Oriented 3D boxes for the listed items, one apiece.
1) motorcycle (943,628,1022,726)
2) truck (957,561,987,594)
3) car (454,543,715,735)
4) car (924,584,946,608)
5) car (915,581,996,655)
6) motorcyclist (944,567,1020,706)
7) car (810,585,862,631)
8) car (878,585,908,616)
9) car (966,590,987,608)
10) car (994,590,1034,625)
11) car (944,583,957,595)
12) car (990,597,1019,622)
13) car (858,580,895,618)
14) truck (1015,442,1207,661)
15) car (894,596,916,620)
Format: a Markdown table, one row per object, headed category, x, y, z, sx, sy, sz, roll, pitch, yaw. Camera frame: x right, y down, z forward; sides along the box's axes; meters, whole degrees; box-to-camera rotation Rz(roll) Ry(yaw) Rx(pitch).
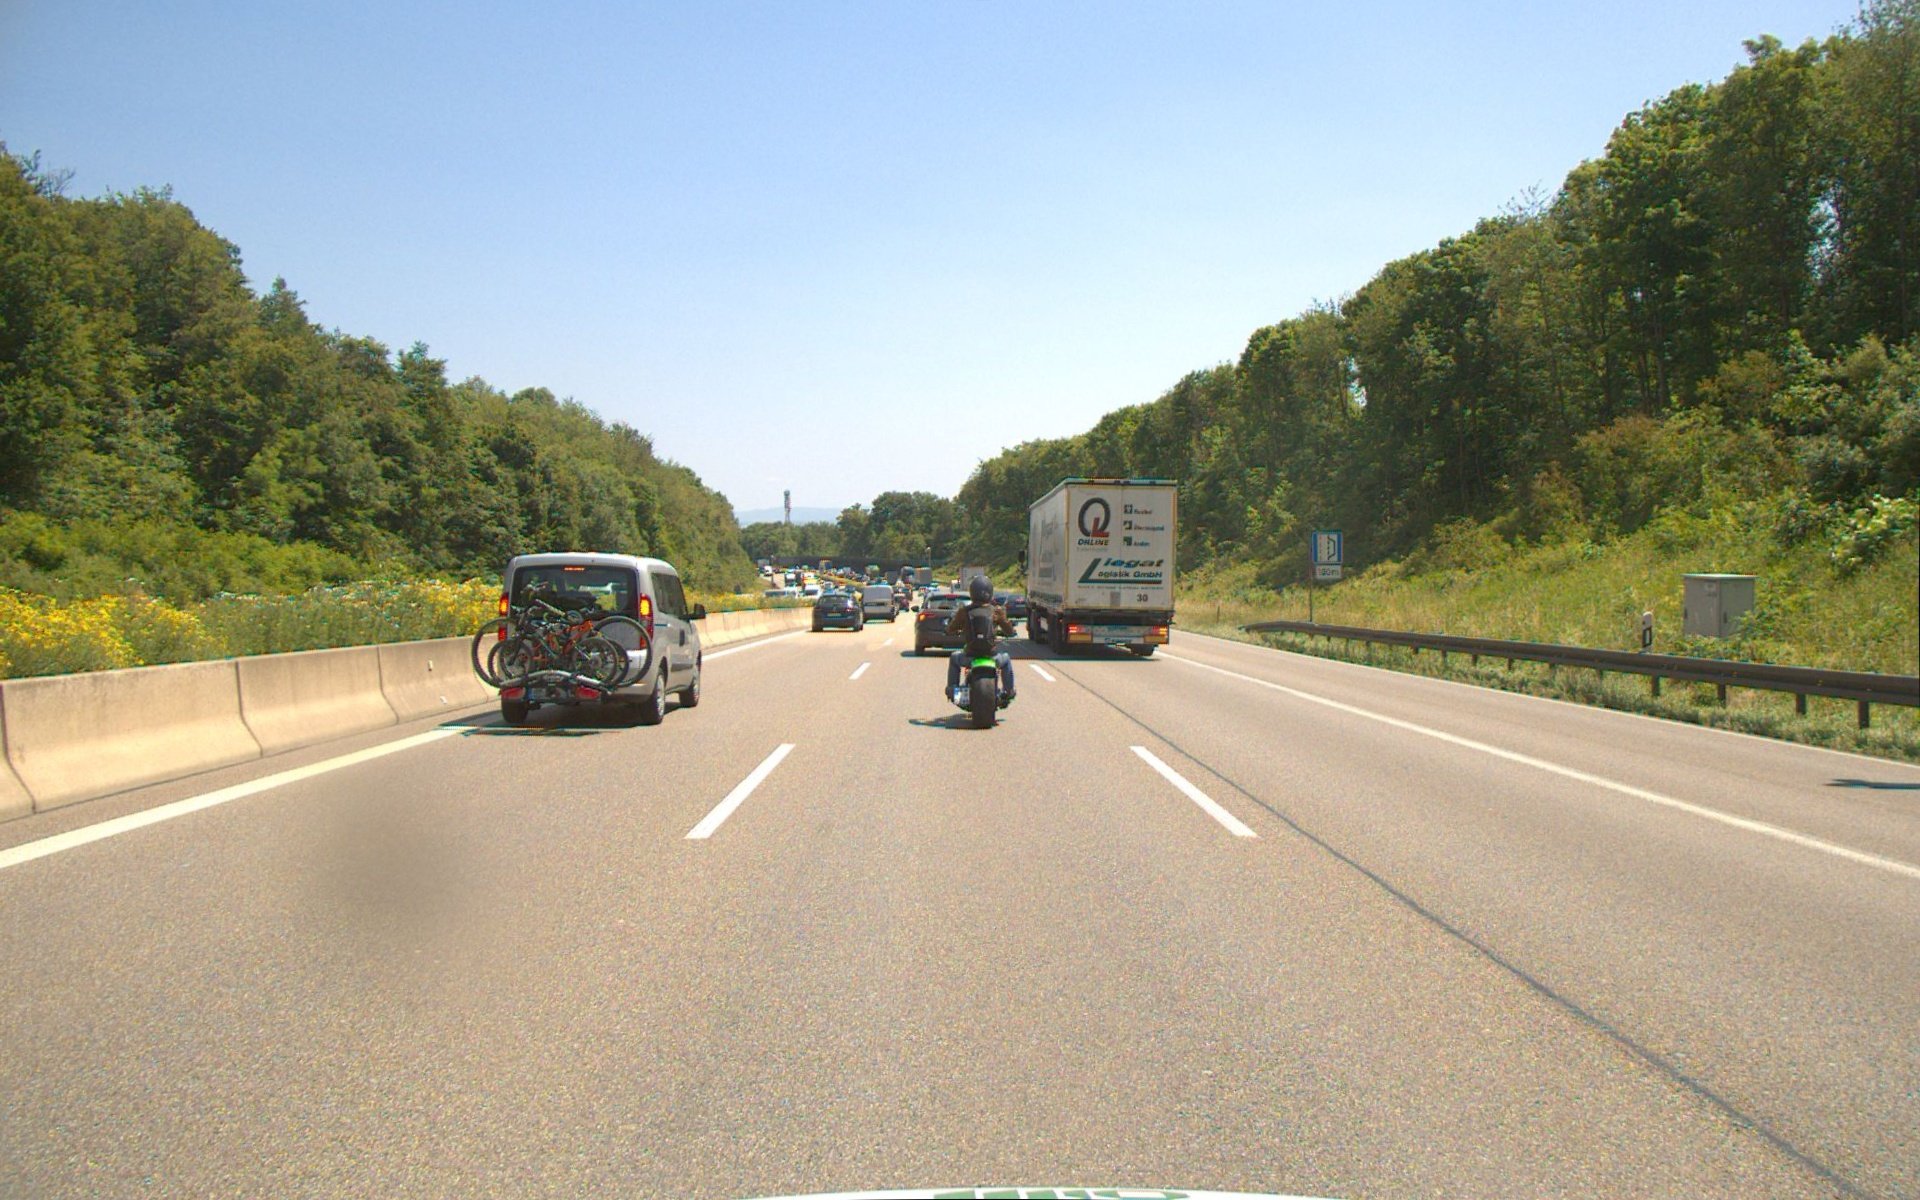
| category | x | y | z | sx | sy | sz | roll | pitch | yaw |
| --- | --- | --- | --- | --- | --- | --- | --- | --- | --- |
| motorcycle | 0.244 | 0.853 | 19.017 | 0.844 | 0.999 | 2.131 | 0 | 1 | 0 |
| truck | 1.275 | -2.485 | 180.172 | 3.005 | 3.404 | 9.651 | 2 | 1 | -1 |
| car | -4.118 | 0.325 | 19.103 | 1.860 | 1.880 | 5.482 | 1 | 1 | -1 |
| car | -2.038 | -0.328 | 134.110 | 1.794 | 1.842 | 4.119 | 1 | 2 | -1 |
| car | -0.149 | 0.382 | 39.747 | 1.808 | 1.584 | 4.439 | 1 | 2 | -1 |
| motorcyclist | 0.247 | 0.399 | 18.869 | 0.838 | 1.541 | 0.914 | 0 | 1 | 0 |
| car | -4.666 | 0.263 | 62.579 | 1.722 | 1.570 | 4.395 | 1 | 2 | -1 |
| car | -4.240 | -0.001 | 104.568 | 1.794 | 1.842 | 4.119 | 1 | 2 | -1 |
| car | 1.580 | -0.110 | 158.819 | 1.794 | 1.585 | 4.119 | 1 | 2 | -1 |
| car | 2.722 | 0.371 | 83.971 | 1.794 | 1.585 | 4.119 | 1 | 2 | -1 |
| car | -1.369 | -1.558 | 234.941 | 1.794 | 1.585 | 4.119 | 1 | 2 | -1 |
| car | 3.075 | 0.631 | 113.979 | 1.794 | 1.585 | 4.119 | 1 | 2 | -1 |
| car | -4.272 | -0.082 | 85.228 | 1.794 | 1.842 | 4.119 | 1 | 2 | -1 |
| truck | 3.659 | -1.285 | 45.794 | 3.314 | 4.799 | 17.707 | 2 | 1 | -1 |
| car | -4.673 | 0.691 | 140.636 | 1.794 | 1.842 | 4.119 | 1 | 2 | -1 |
